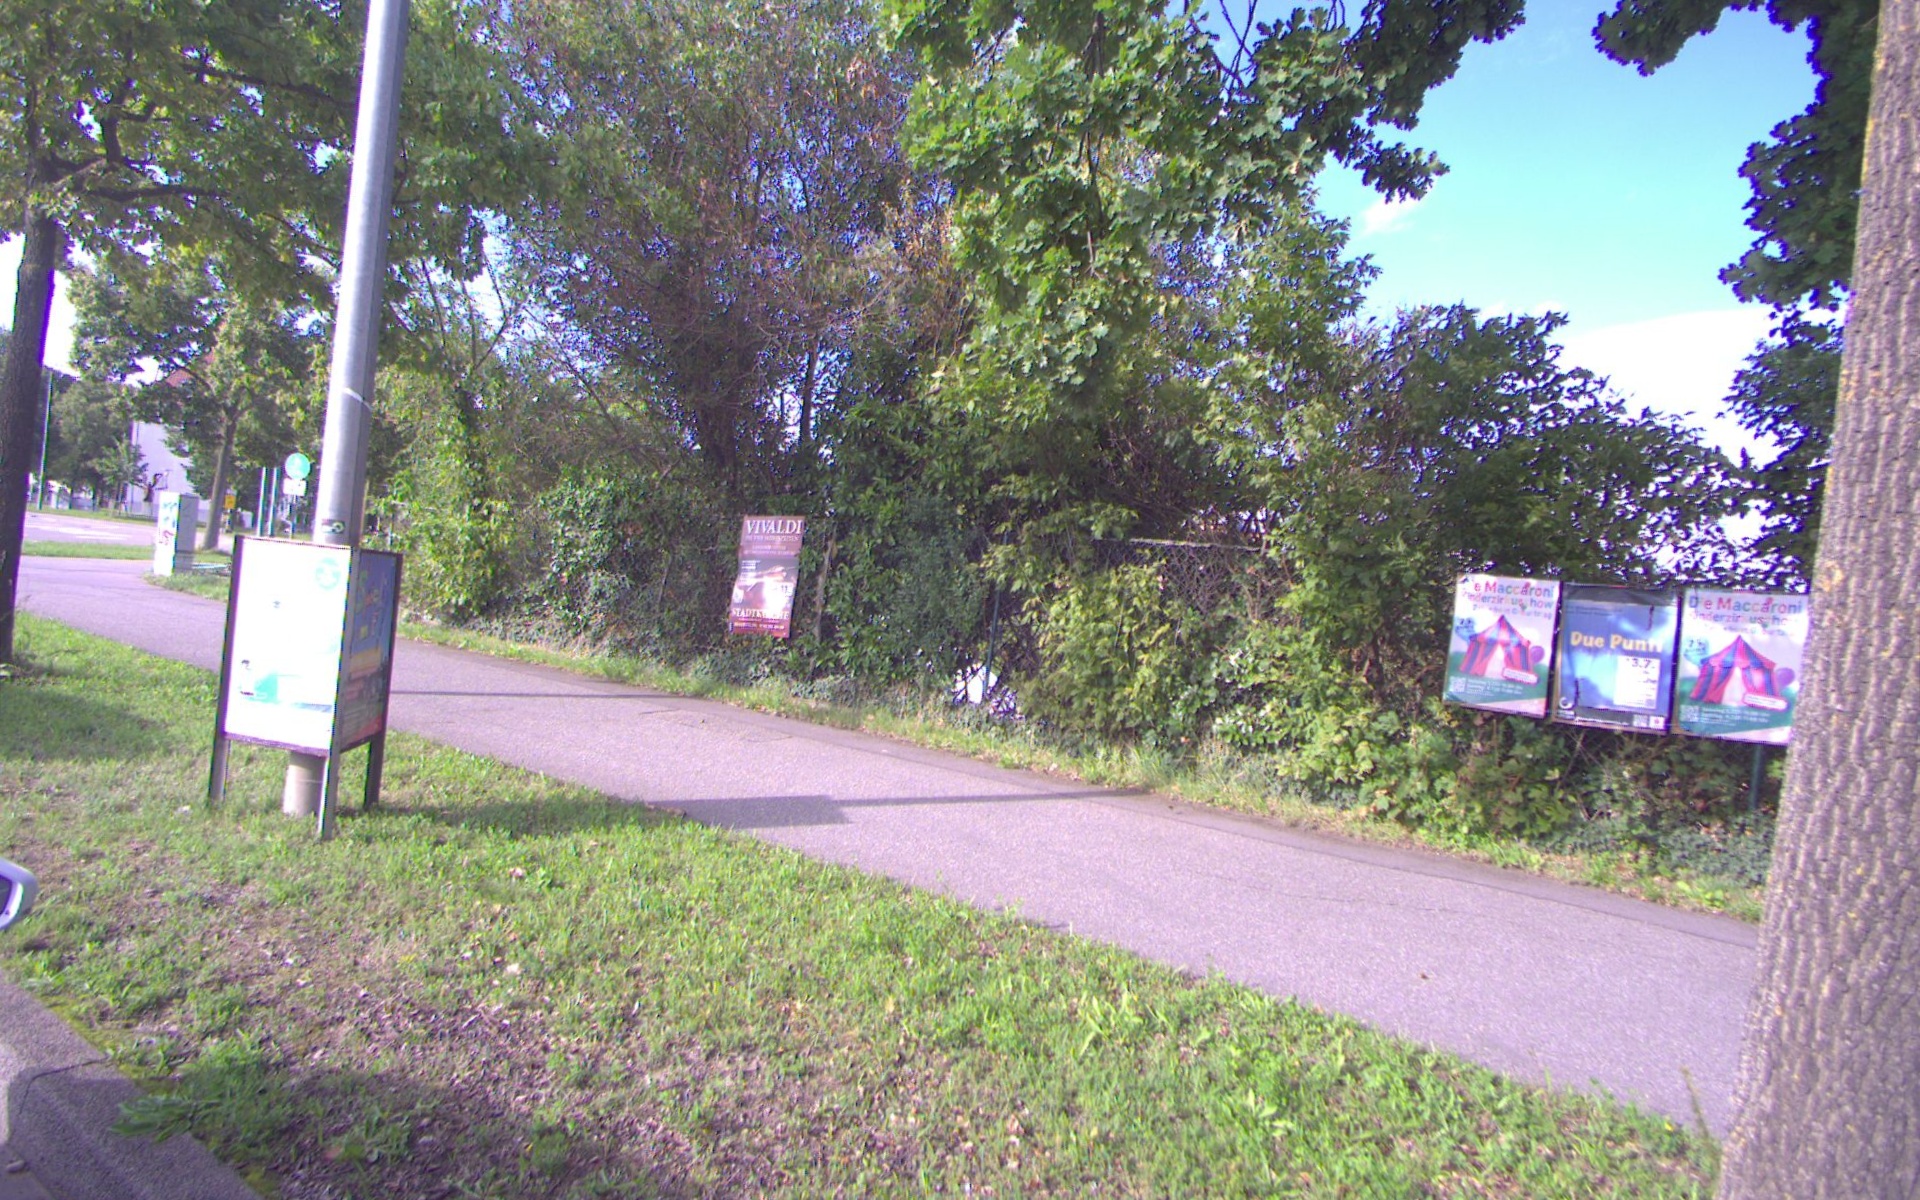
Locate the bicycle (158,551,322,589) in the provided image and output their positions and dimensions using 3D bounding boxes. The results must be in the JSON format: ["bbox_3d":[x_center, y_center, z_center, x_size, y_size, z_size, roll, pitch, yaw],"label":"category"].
[{"bbox_3d":[-13.960,-0.583,19.520,2.529,0.390,1.411,7,0,21],"label":"bicycle"}]

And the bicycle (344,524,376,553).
[{"bbox_3d":[-41.268,-4.229,69.231,2.461,1.681,1.042,7,-1,42],"label":"bicycle"}]
